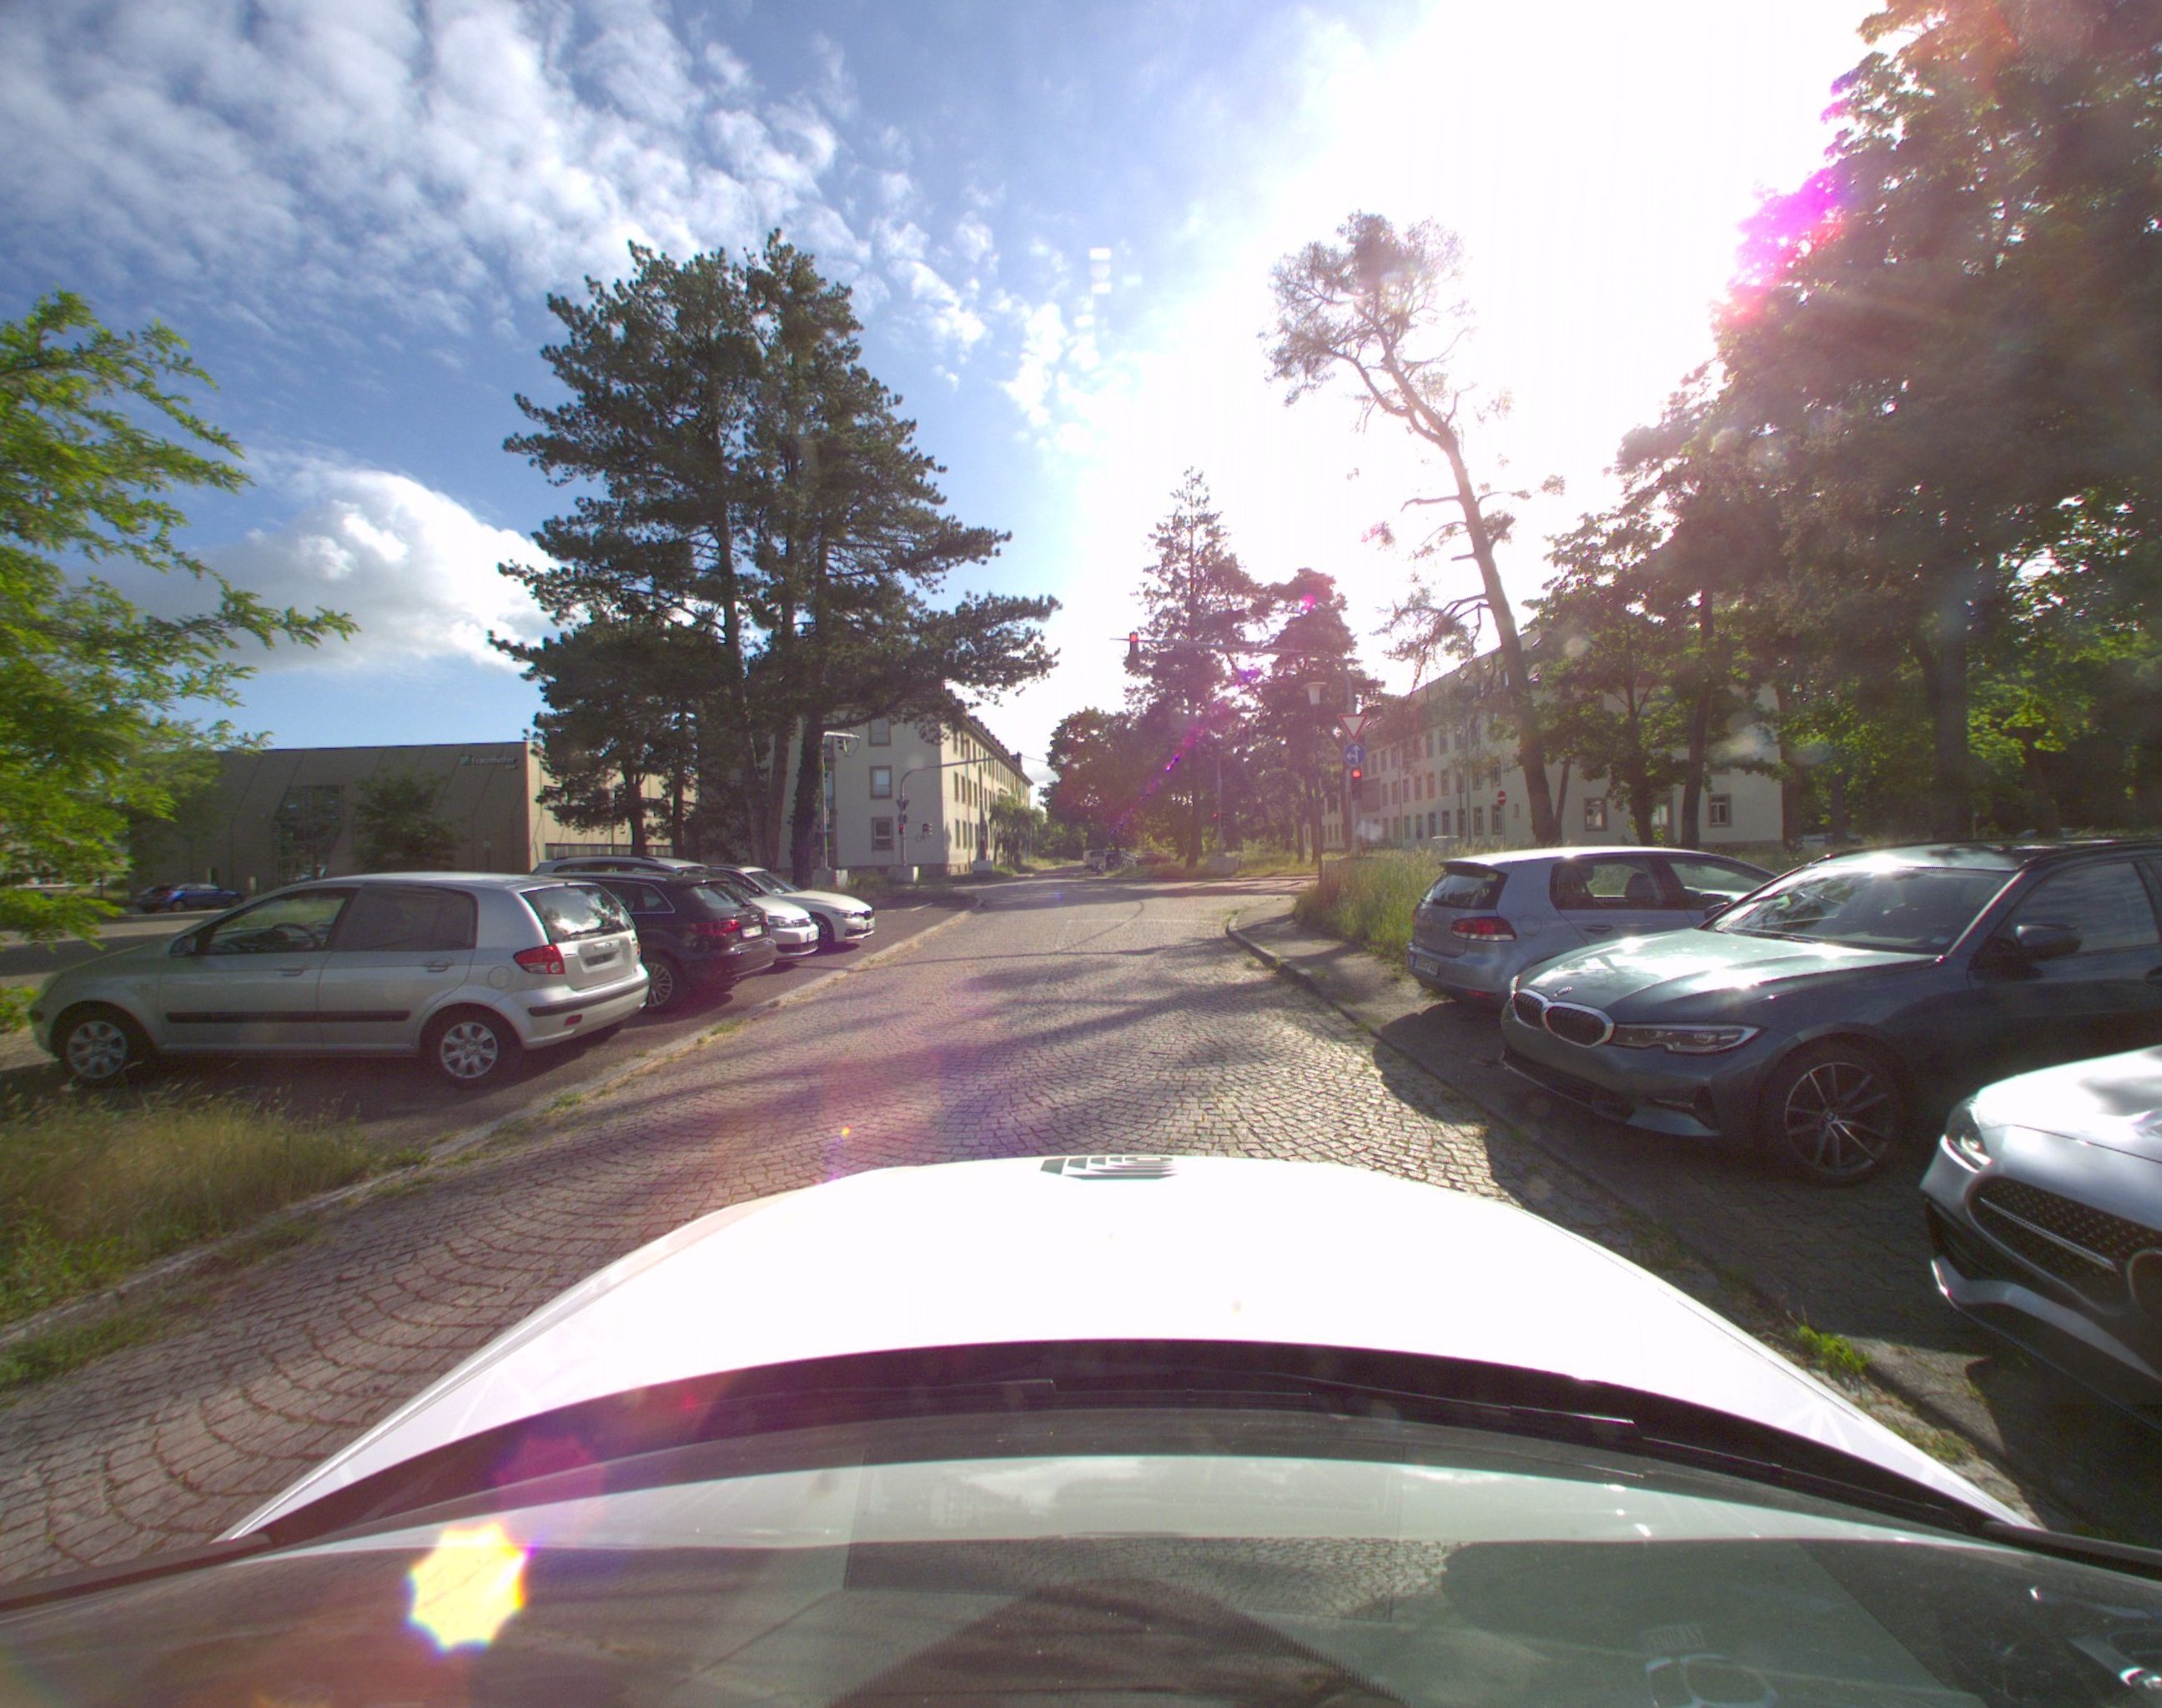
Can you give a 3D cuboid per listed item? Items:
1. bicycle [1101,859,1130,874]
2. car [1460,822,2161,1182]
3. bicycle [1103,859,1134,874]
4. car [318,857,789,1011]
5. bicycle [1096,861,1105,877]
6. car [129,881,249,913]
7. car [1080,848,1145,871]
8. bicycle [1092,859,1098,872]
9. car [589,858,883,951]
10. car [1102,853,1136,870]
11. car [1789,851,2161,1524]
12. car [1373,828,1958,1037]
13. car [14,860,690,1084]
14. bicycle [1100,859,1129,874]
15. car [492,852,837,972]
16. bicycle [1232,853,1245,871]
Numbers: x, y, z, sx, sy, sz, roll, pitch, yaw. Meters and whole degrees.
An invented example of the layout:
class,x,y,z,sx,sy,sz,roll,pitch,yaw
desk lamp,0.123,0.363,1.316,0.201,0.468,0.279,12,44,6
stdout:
class,x,y,z,sx,sy,sz,roll,pitch,yaw
bicycle,2.454,0.880,57.808,2.002,1.010,0.630,1,-1,-7
car,4.716,0.625,4.386,4.542,1.415,1.637,-3,0,1
bicycle,2.575,0.866,56.093,2.106,1.010,0.619,1,-1,-7
car,-5.560,0.808,9.016,3.976,1.480,1.802,1,0,-2
bicycle,1.235,0.973,52.423,0.466,1.010,1.585,1,-1,-2
car,-47.364,2.254,43.366,1.895,1.433,4.002,-2,-1,2
car,2.867,0.481,74.175,5.534,2.014,1.989,1,-1,-17
bicycle,1.116,0.903,65.851,0.416,1.010,1.484,1,-1,2
car,-5.859,0.841,14.259,4.322,1.468,1.829,1,0,-2
car,3.280,0.656,70.564,2.775,1.467,1.669,1,-1,-3
car,4.549,0.651,1.756,4.415,1.415,1.781,-3,0,1
car,4.796,0.604,7.114,3.867,1.415,1.637,-3,0,1
car,-5.360,0.823,6.403,3.736,1.487,1.645,1,0,-2
bicycle,2.402,0.888,58.692,2.025,1.010,0.626,1,-1,-7
car,-5.913,0.788,11.984,4.069,1.593,1.884,1,0,-2
bicycle,8.488,0.448,43.896,0.300,0.961,1.585,1,-1,-2
